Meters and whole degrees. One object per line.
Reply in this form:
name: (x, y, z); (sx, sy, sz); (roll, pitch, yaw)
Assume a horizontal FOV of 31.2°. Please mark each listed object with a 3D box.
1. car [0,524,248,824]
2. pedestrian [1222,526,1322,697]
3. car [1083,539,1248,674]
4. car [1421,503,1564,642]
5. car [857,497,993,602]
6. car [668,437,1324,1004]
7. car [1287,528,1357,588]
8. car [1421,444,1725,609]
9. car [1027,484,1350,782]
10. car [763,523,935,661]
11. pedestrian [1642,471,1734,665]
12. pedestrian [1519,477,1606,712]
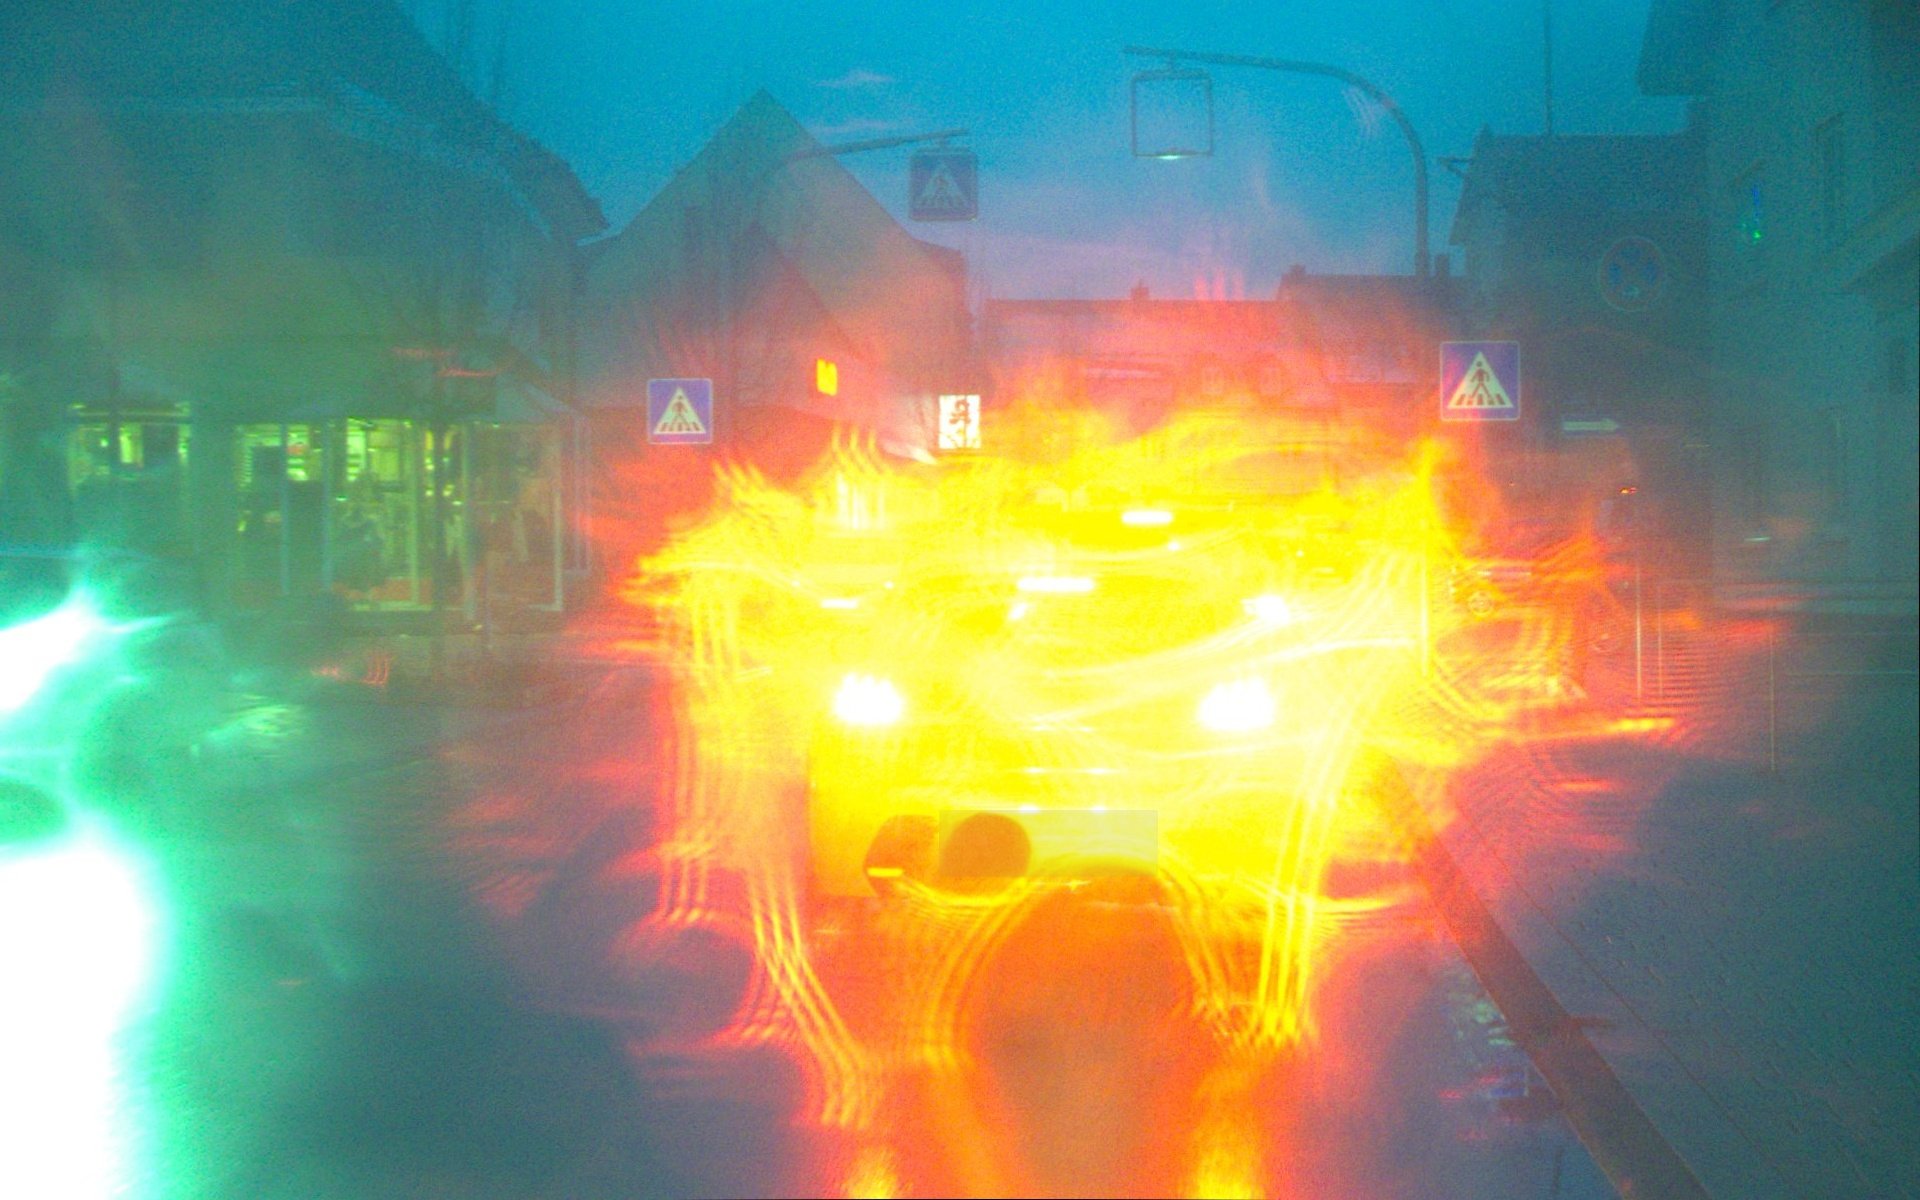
car: (-5.473, 0.335, 19.695); (1.670, 1.511, 4.000); (2, 1, 4)
pedestrian: (3.290, 0.108, 36.216); (0.974, 1.736, 0.961); (1, 2, 8)
car: (2.632, 0.034, 43.246); (1.827, 1.596, 4.580); (0, 1, 7)
car: (8.114, -0.454, 52.609); (1.642, 2.007, 4.000); (-2, 1, 2)
car: (-0.558, -0.878, 59.246); (1.994, 1.746, 4.361); (0, 1, 4)
car: (0.348, 0.314, 13.274); (1.994, 1.789, 4.647); (0, 2, 7)
car: (8.897, -1.045, 84.655); (1.534, 1.241, 3.647); (-5, 2, 5)
car: (7.734, -0.925, 43.593); (3.698, 2.007, 1.689); (1, 1, 8)
car: (1.477, 0.159, 21.314); (1.798, 1.656, 3.999); (1, 1, 6)
car: (-1.633, -0.153, 52.035); (1.994, 2.007, 4.360); (0, 1, 6)
pedestrian: (7.106, -0.321, 33.574); (0.703, 1.870, 0.617); (1, 2, -3)
pedestrian: (4.931, -0.052, 28.102); (0.663, 1.881, 0.824); (1, 0, 11)
